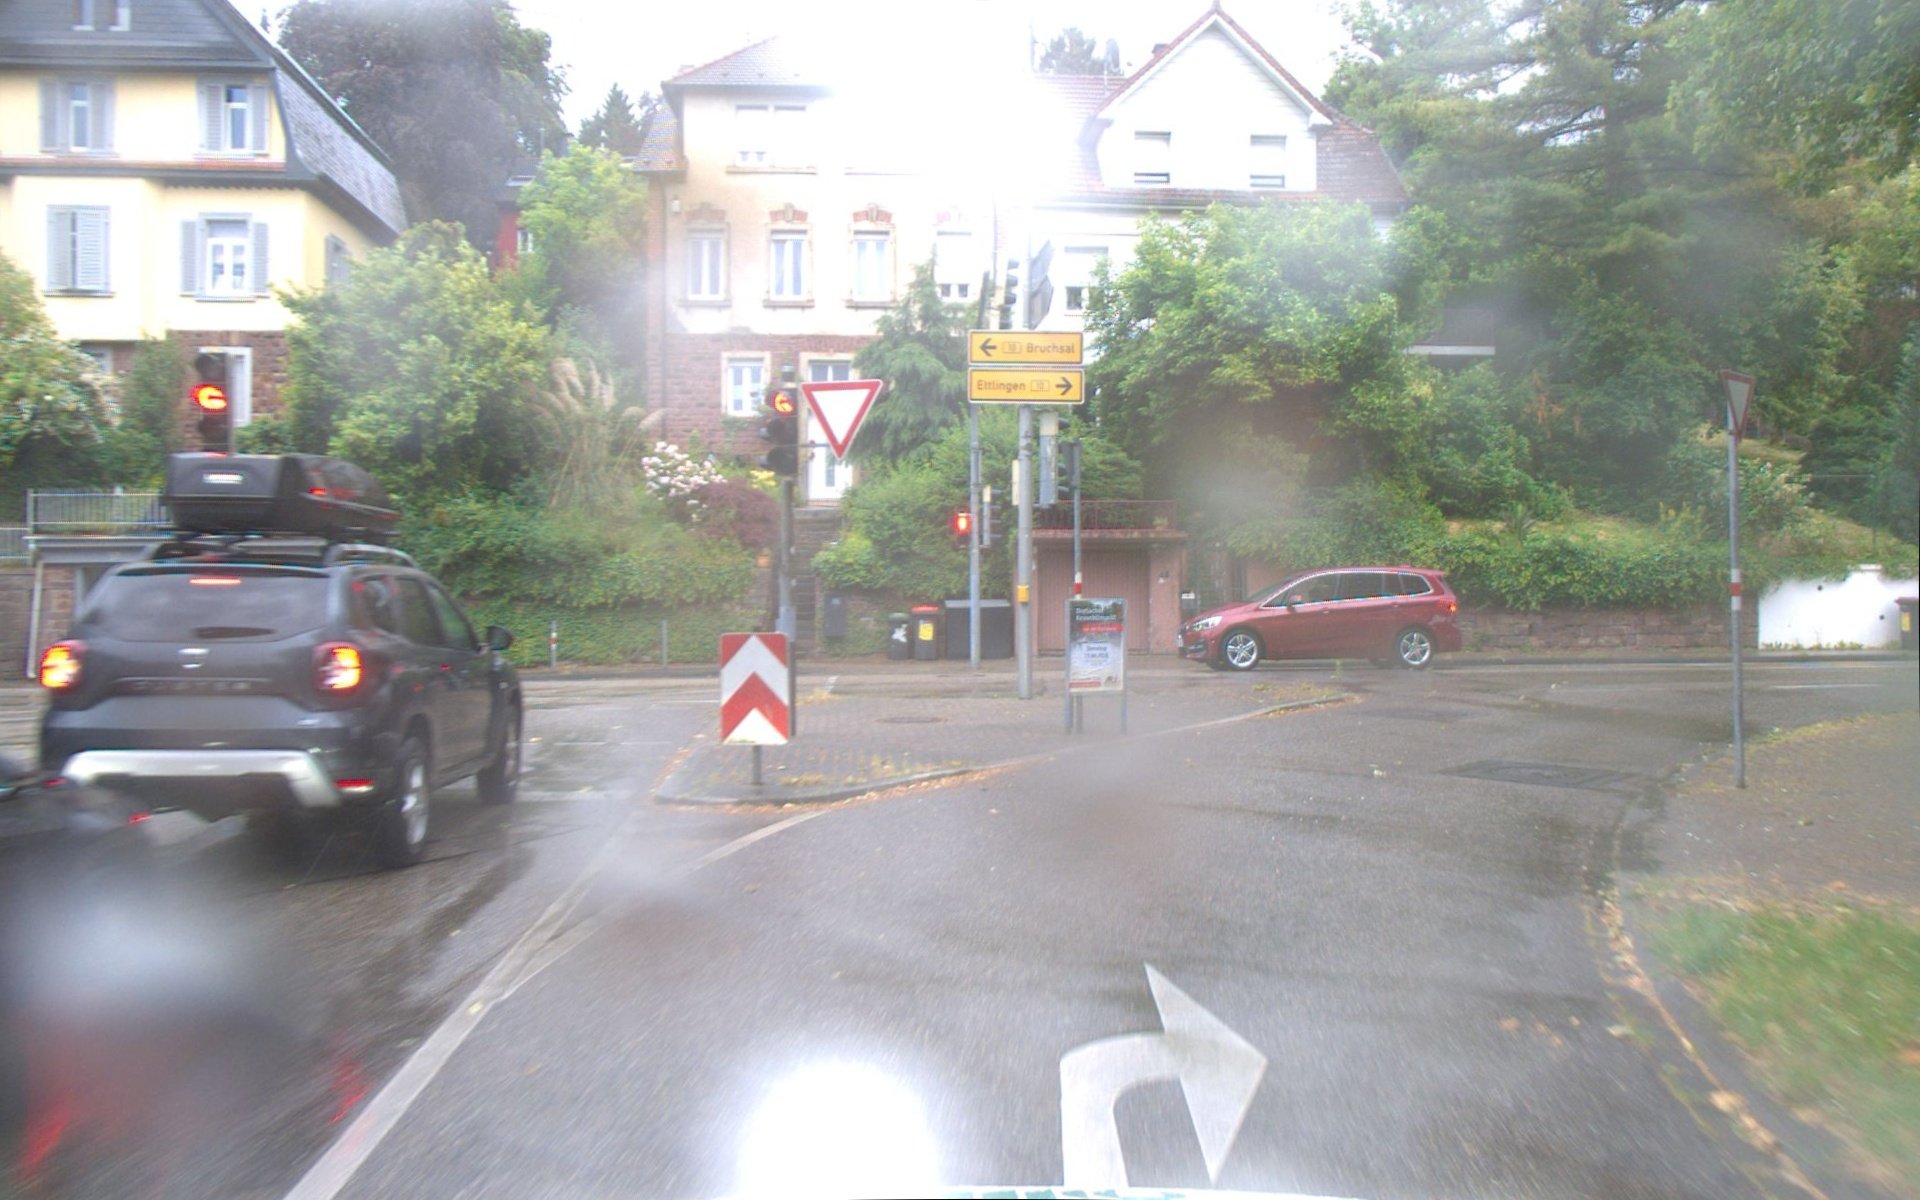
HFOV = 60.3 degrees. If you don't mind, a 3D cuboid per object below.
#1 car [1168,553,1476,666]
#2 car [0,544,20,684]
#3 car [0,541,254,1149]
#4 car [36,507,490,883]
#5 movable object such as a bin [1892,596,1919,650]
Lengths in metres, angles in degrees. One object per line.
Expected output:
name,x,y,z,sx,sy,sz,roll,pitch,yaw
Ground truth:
car,5.695,0.164,26.384,4.476,1.629,1.774,-1,-1,-2
car,-20.099,0.211,29.215,5.546,2.538,2.314,1,-1,-2
car,-3.175,0.584,3.204,1.795,1.481,4.656,2,1,-3
car,-3.916,0.411,10.085,1.730,1.741,4.586,1,1,-13
movable object such as a bin,19.595,0.465,33.760,0.736,1.079,0.688,-1,-1,-3
